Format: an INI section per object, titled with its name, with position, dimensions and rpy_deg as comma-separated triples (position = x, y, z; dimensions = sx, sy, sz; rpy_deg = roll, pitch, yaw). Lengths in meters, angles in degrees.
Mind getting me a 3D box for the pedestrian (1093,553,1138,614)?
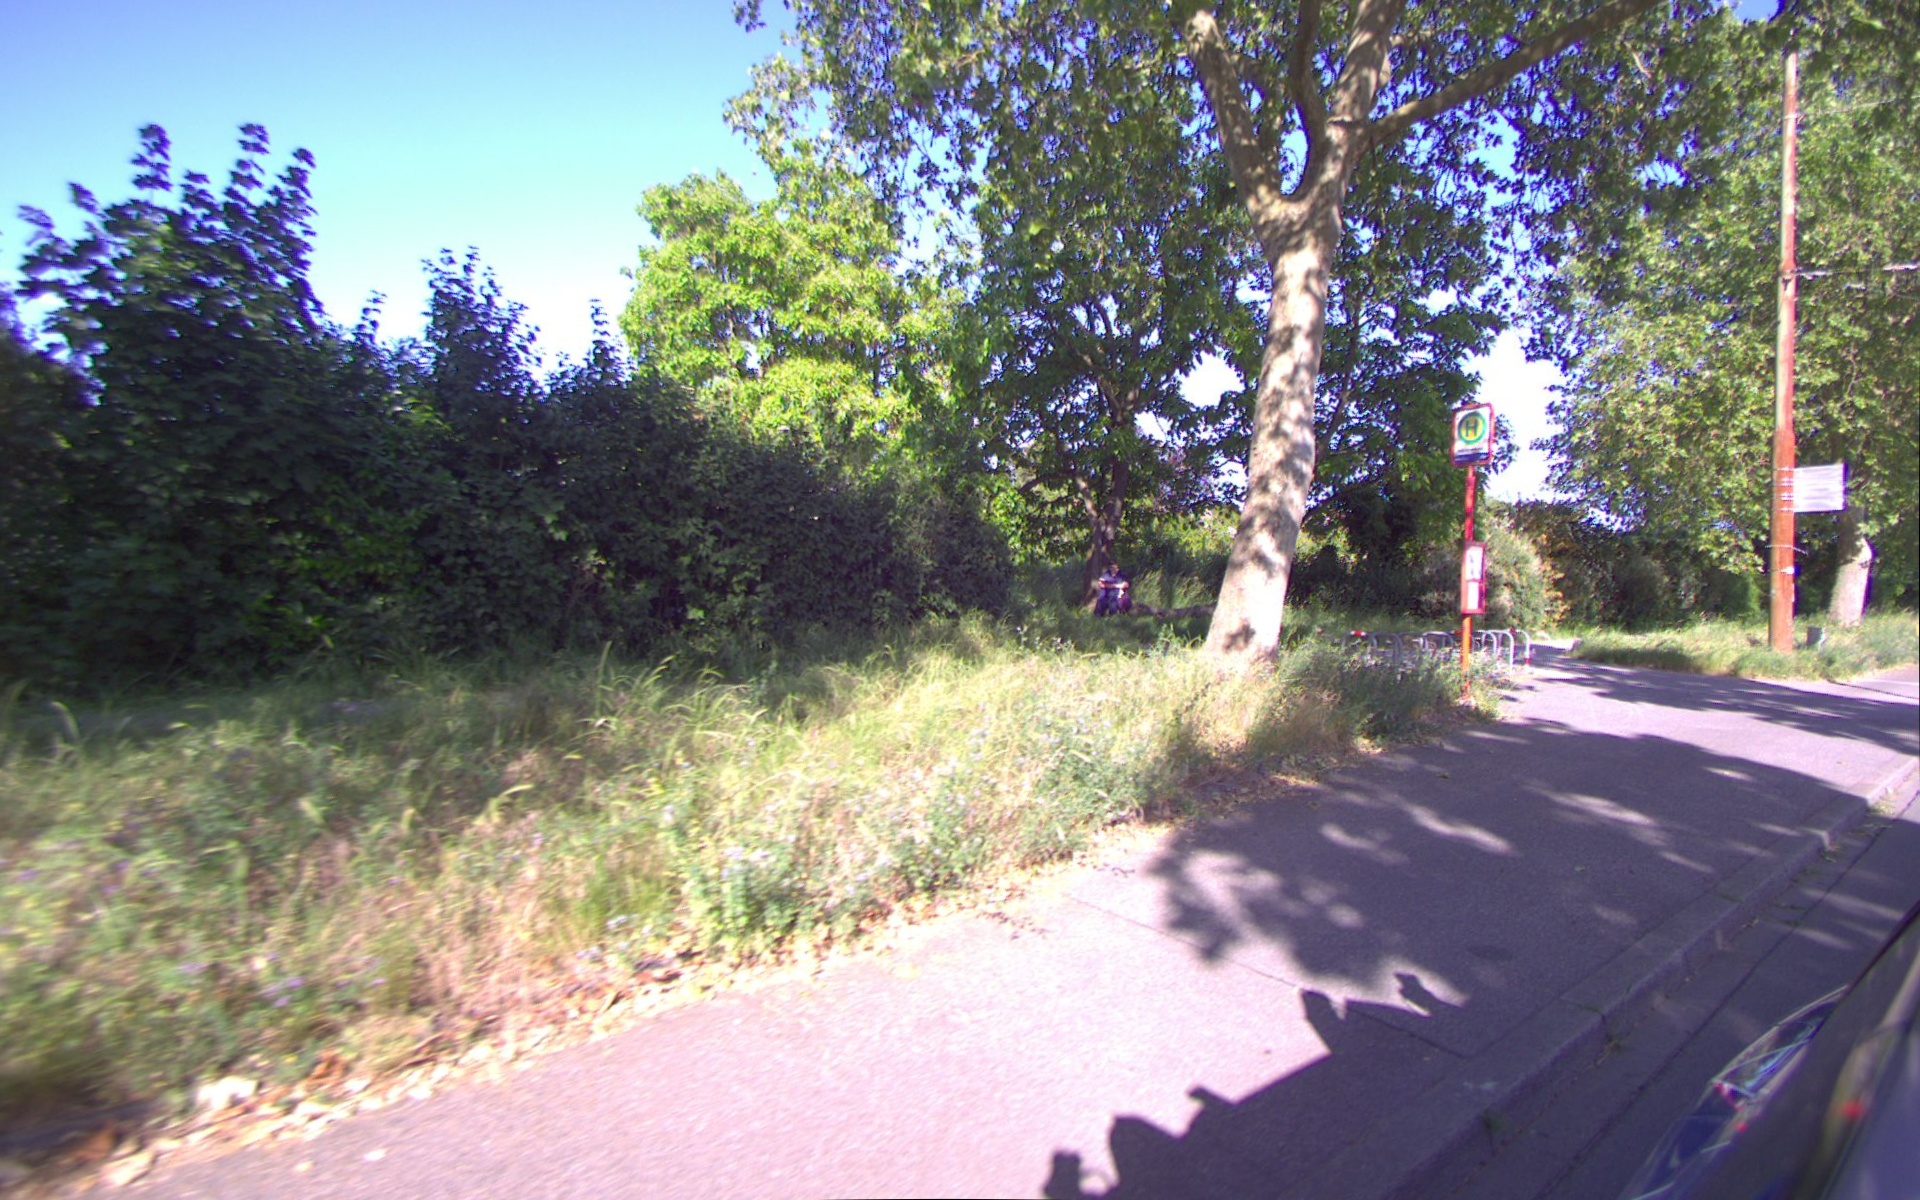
[pedestrian]
position = 3.205, -0.337, 20.892
dimensions = 0.729, 1.235, 0.683
rpy_deg = 0, 0, 29
